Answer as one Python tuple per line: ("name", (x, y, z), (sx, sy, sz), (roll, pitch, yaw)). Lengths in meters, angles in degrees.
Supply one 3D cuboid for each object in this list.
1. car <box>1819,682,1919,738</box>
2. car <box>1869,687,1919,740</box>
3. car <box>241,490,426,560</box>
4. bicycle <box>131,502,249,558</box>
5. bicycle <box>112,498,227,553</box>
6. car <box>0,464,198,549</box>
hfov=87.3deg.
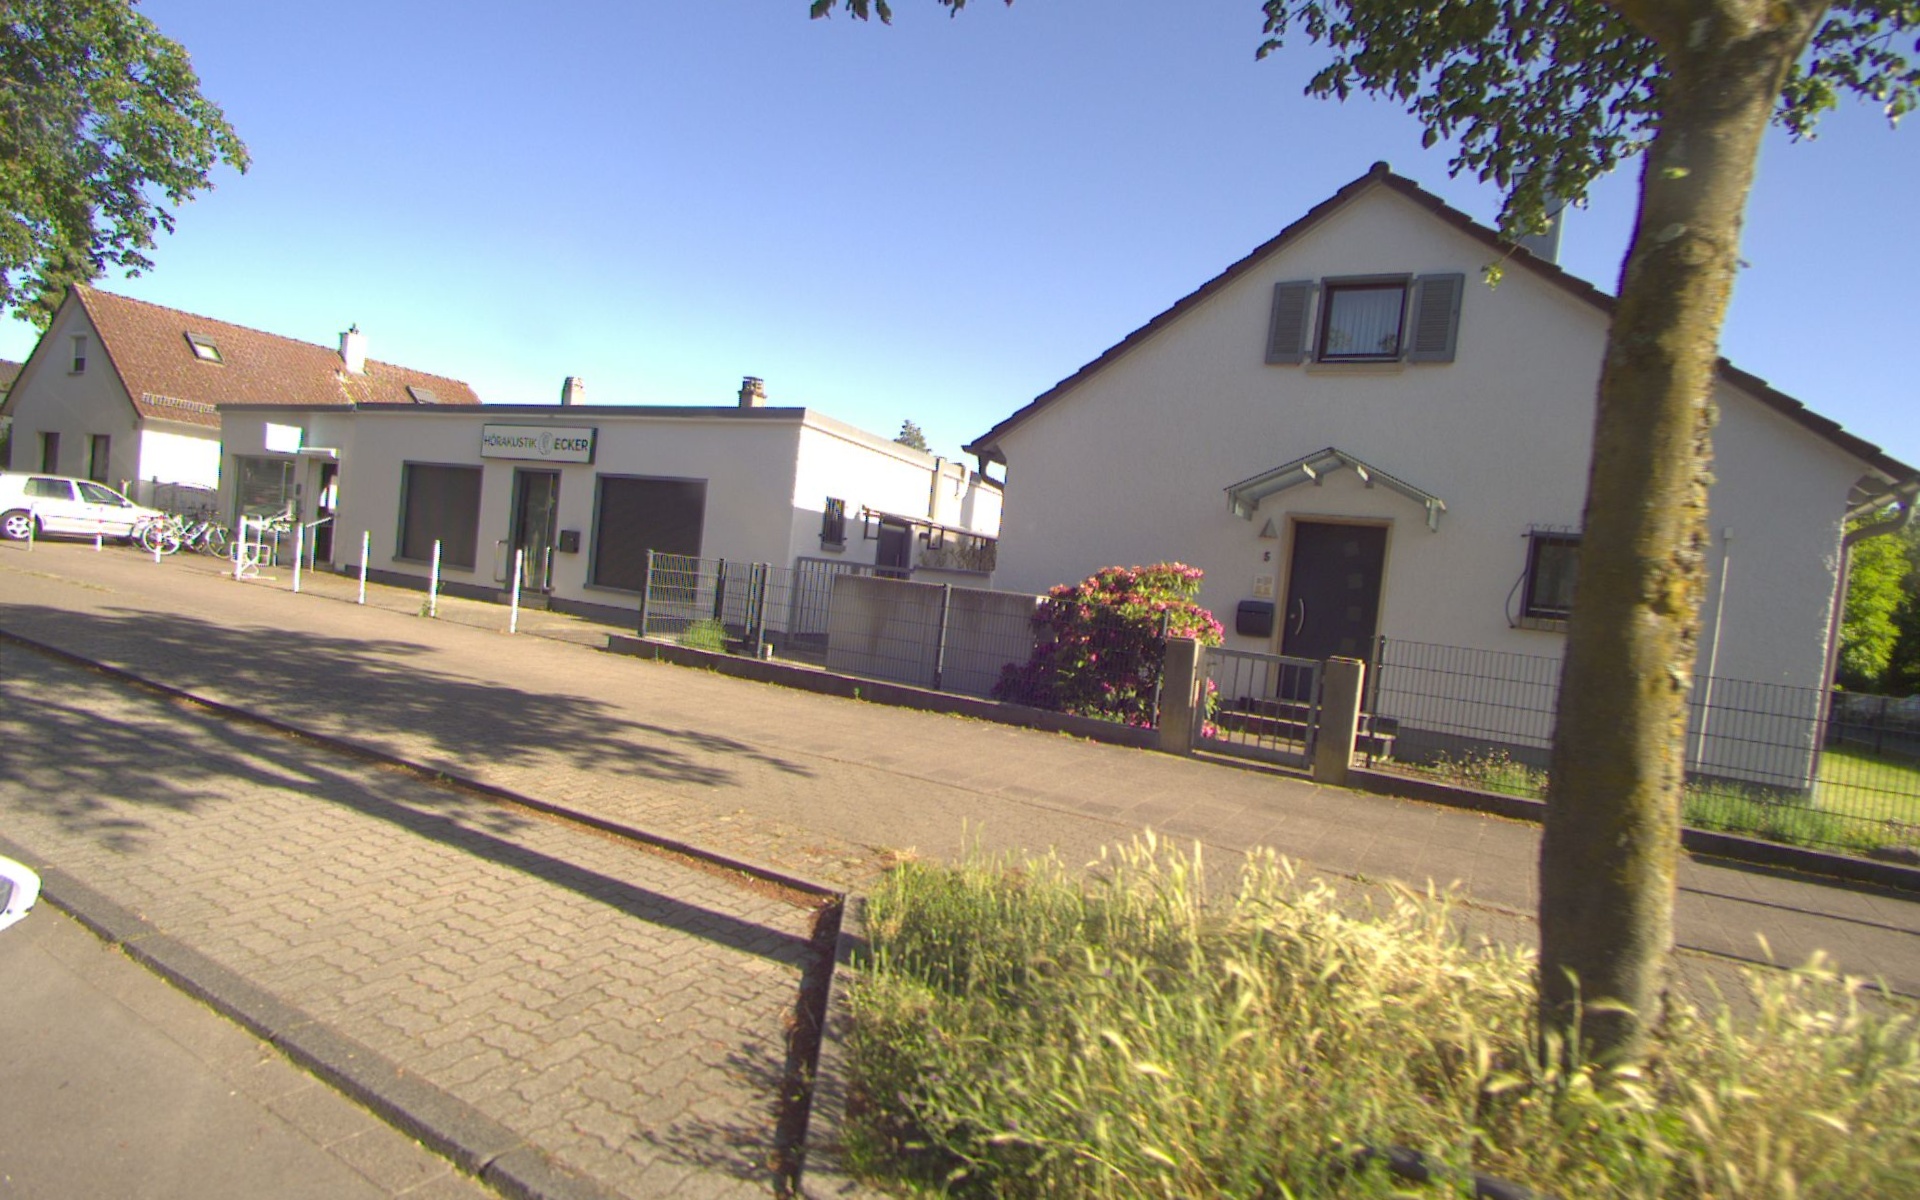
("car", (35.088, 4.183, 38.359), (2.245, 1.668, 4.751), (9, 0, 27))
("car", (32.583, 3.918, 33.358), (2.245, 1.668, 4.751), (9, 0, 27))
("car", (-17.577, -2.075, 28.412), (1.868, 1.509, 3.990), (9, 4, 27))
("bicycle", (-16.799, -1.517, 21.999), (0.566, 1.012, 1.959), (9, 3, 28))
("bicycle", (-17.632, -1.640, 22.481), (0.566, 1.012, 1.924), (9, 3, 28))
("car", (-19.915, -2.110, 22.612), (1.869, 1.509, 3.989), (9, 4, 29))
